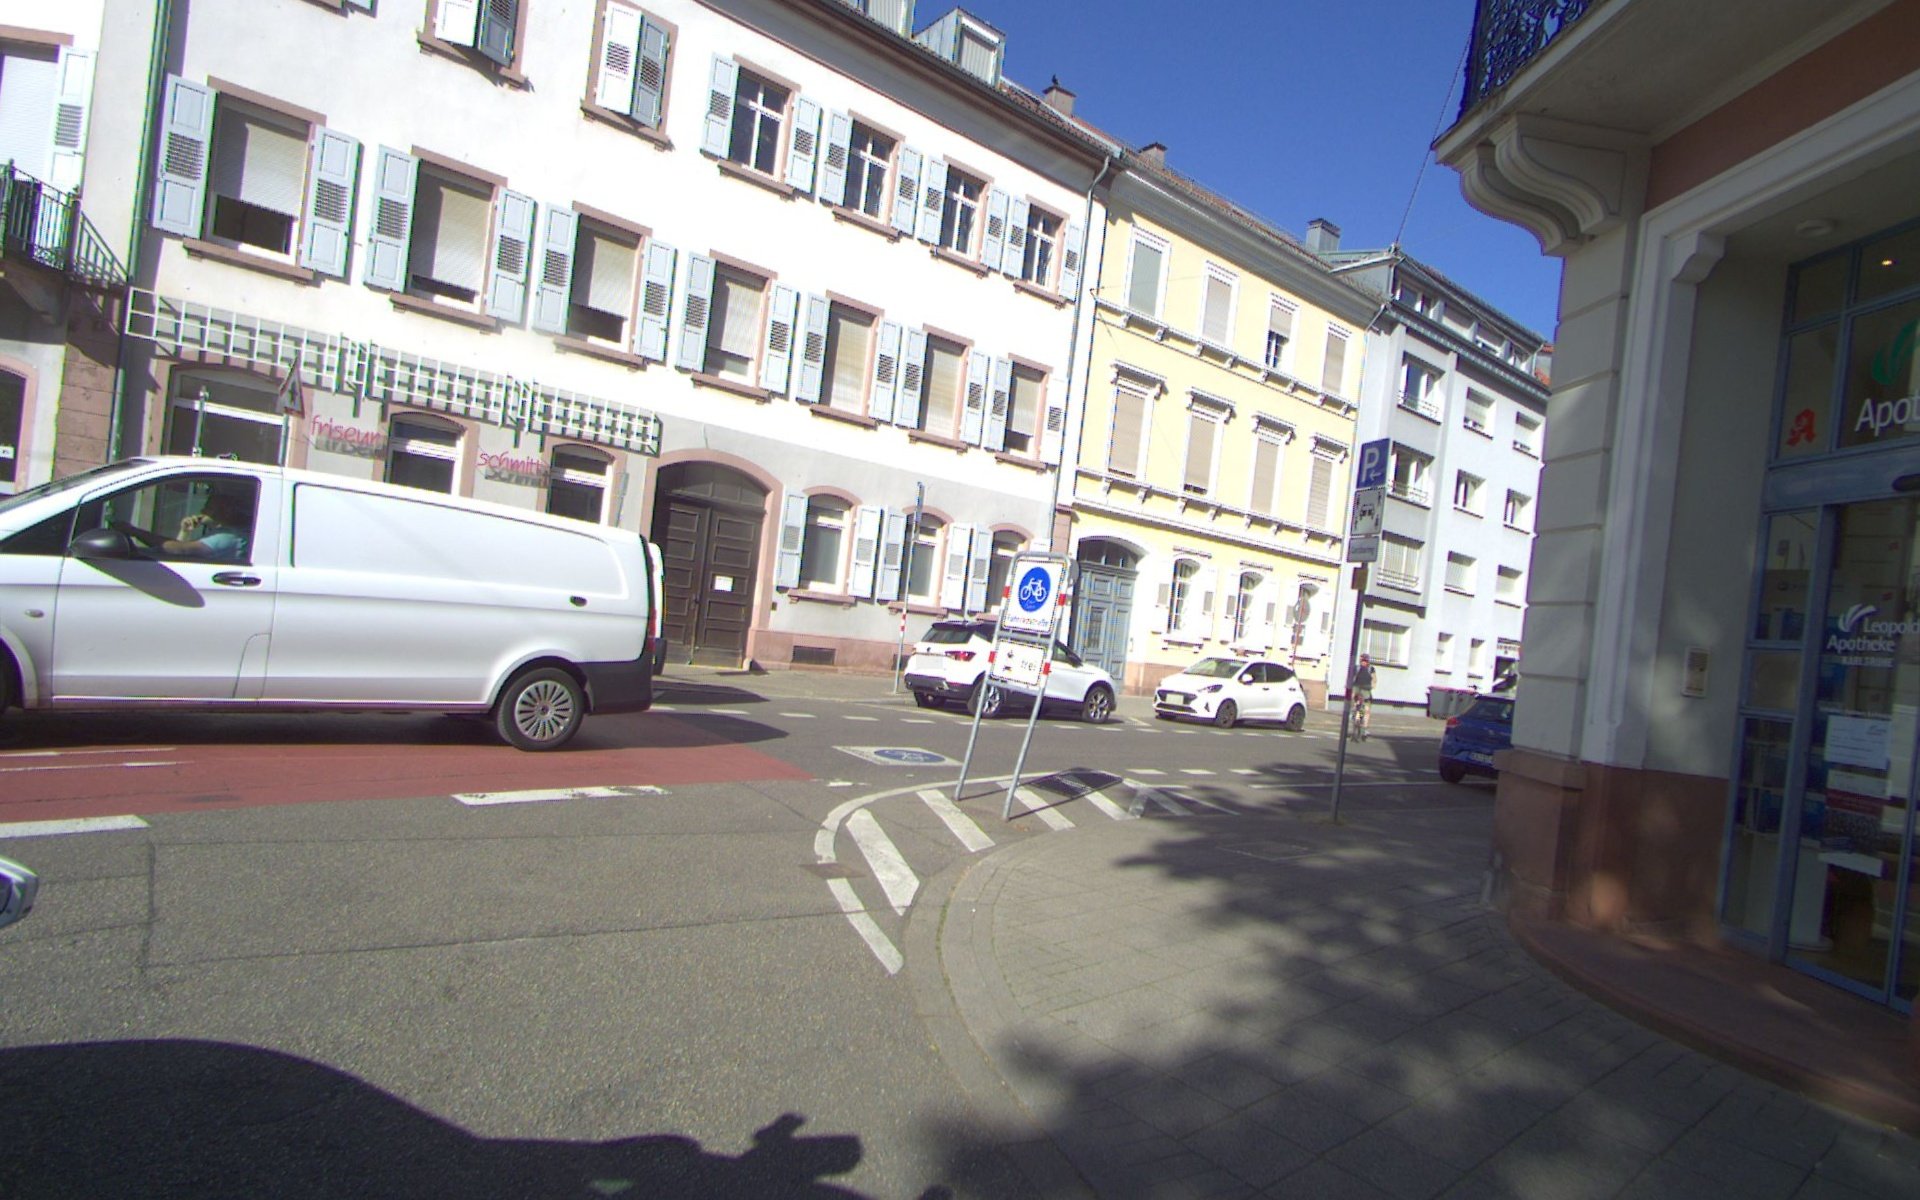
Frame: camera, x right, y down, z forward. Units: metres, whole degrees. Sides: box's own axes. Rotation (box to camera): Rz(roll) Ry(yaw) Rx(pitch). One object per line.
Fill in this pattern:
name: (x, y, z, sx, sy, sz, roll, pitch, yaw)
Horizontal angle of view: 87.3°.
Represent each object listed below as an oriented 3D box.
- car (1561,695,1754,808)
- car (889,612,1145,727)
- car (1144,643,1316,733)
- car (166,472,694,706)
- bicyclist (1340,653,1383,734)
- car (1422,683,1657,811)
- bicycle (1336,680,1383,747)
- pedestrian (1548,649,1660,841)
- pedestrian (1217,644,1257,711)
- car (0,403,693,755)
car: (12.585, 2.693, 18.101, 3.608, 1.557, 1.689, 6, 2, -38)
car: (1.081, 1.249, 17.458, 4.347, 1.559, 1.630, 8, -3, -38)
car: (5.812, 1.899, 21.523, 3.610, 1.559, 1.616, 8, -3, -38)
car: (-5.948, 0.009, 11.698, 4.989, 1.969, 2.028, 8, -1, -40)
bicyclist: (8.318, 1.935, 20.886, 0.626, 1.565, 1.025, 7, 0, 19)
car: (8.791, 2.178, 15.175, 3.608, 1.452, 1.689, 6, 2, -38)
bicycle: (8.206, 2.298, 20.714, 0.660, 1.213, 1.926, 7, -1, 19)
pedestrian: (6.517, 1.430, 10.195, 0.817, 1.785, 0.750, 4, -1, 34)
pedestrian: (7.130, 1.989, 25.891, 0.633, 1.620, 0.579, 7, 0, -35)
car: (-4.969, -0.017, 7.394, 2.080, 1.930, 5.397, 6, -2, 43)
